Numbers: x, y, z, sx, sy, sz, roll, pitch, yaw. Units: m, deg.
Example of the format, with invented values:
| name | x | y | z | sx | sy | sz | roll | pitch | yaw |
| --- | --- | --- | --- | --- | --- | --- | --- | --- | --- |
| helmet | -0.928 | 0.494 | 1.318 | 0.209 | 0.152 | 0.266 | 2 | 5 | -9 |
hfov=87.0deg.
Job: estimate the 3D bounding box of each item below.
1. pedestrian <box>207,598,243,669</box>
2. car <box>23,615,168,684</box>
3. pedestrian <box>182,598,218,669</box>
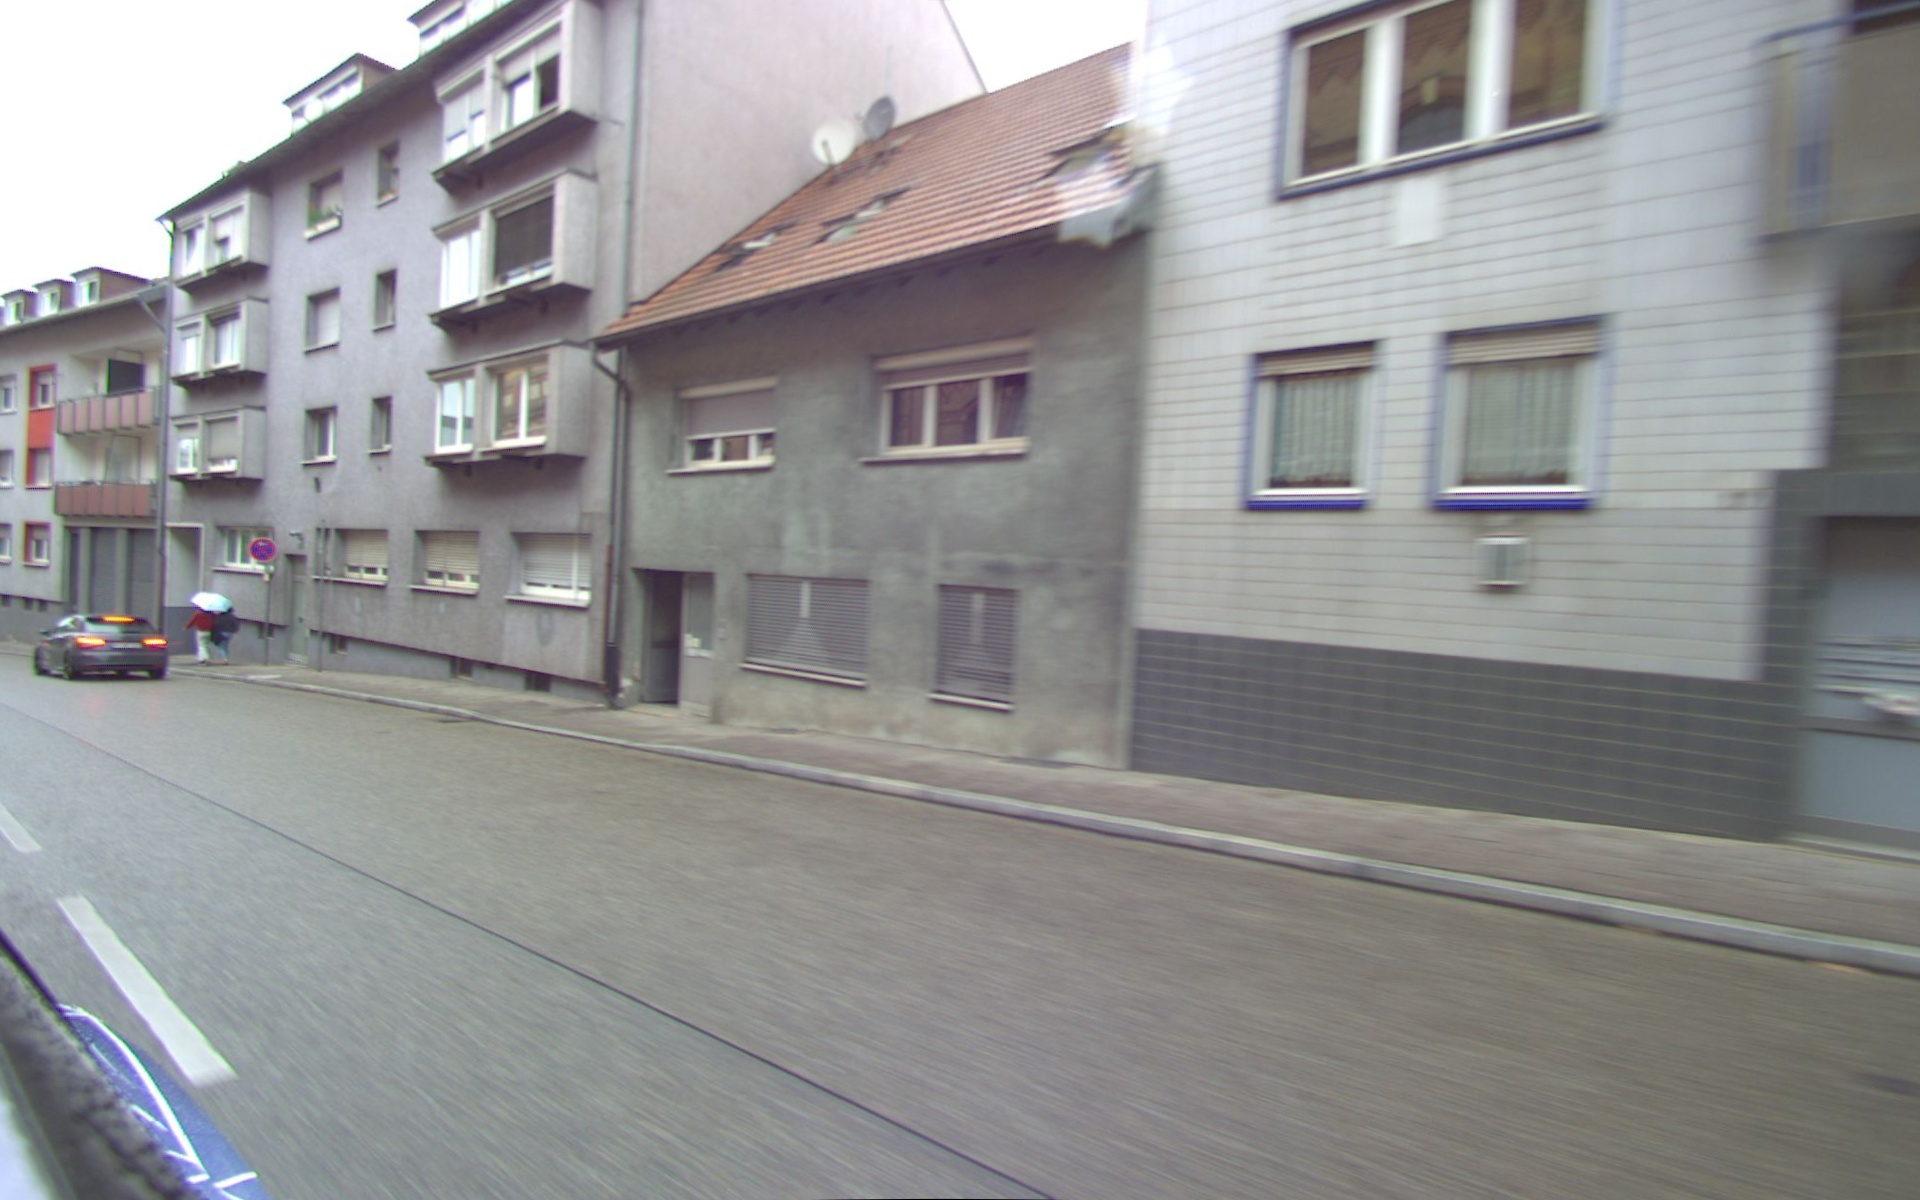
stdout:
| name | x | y | z | sx | sy | sz | roll | pitch | yaw |
| --- | --- | --- | --- | --- | --- | --- | --- | --- | --- |
| pedestrian | -18.961 | 0.862 | 26.110 | 0.621 | 1.789 | 0.518 | -1 | -3 | 36 |
| car | -18.964 | 1.068 | 22.150 | 3.845 | 1.389 | 1.629 | -1 | -4 | 38 |
| pedestrian | -19.275 | 0.848 | 25.666 | 0.621 | 1.789 | 0.518 | -1 | -3 | 36 |
